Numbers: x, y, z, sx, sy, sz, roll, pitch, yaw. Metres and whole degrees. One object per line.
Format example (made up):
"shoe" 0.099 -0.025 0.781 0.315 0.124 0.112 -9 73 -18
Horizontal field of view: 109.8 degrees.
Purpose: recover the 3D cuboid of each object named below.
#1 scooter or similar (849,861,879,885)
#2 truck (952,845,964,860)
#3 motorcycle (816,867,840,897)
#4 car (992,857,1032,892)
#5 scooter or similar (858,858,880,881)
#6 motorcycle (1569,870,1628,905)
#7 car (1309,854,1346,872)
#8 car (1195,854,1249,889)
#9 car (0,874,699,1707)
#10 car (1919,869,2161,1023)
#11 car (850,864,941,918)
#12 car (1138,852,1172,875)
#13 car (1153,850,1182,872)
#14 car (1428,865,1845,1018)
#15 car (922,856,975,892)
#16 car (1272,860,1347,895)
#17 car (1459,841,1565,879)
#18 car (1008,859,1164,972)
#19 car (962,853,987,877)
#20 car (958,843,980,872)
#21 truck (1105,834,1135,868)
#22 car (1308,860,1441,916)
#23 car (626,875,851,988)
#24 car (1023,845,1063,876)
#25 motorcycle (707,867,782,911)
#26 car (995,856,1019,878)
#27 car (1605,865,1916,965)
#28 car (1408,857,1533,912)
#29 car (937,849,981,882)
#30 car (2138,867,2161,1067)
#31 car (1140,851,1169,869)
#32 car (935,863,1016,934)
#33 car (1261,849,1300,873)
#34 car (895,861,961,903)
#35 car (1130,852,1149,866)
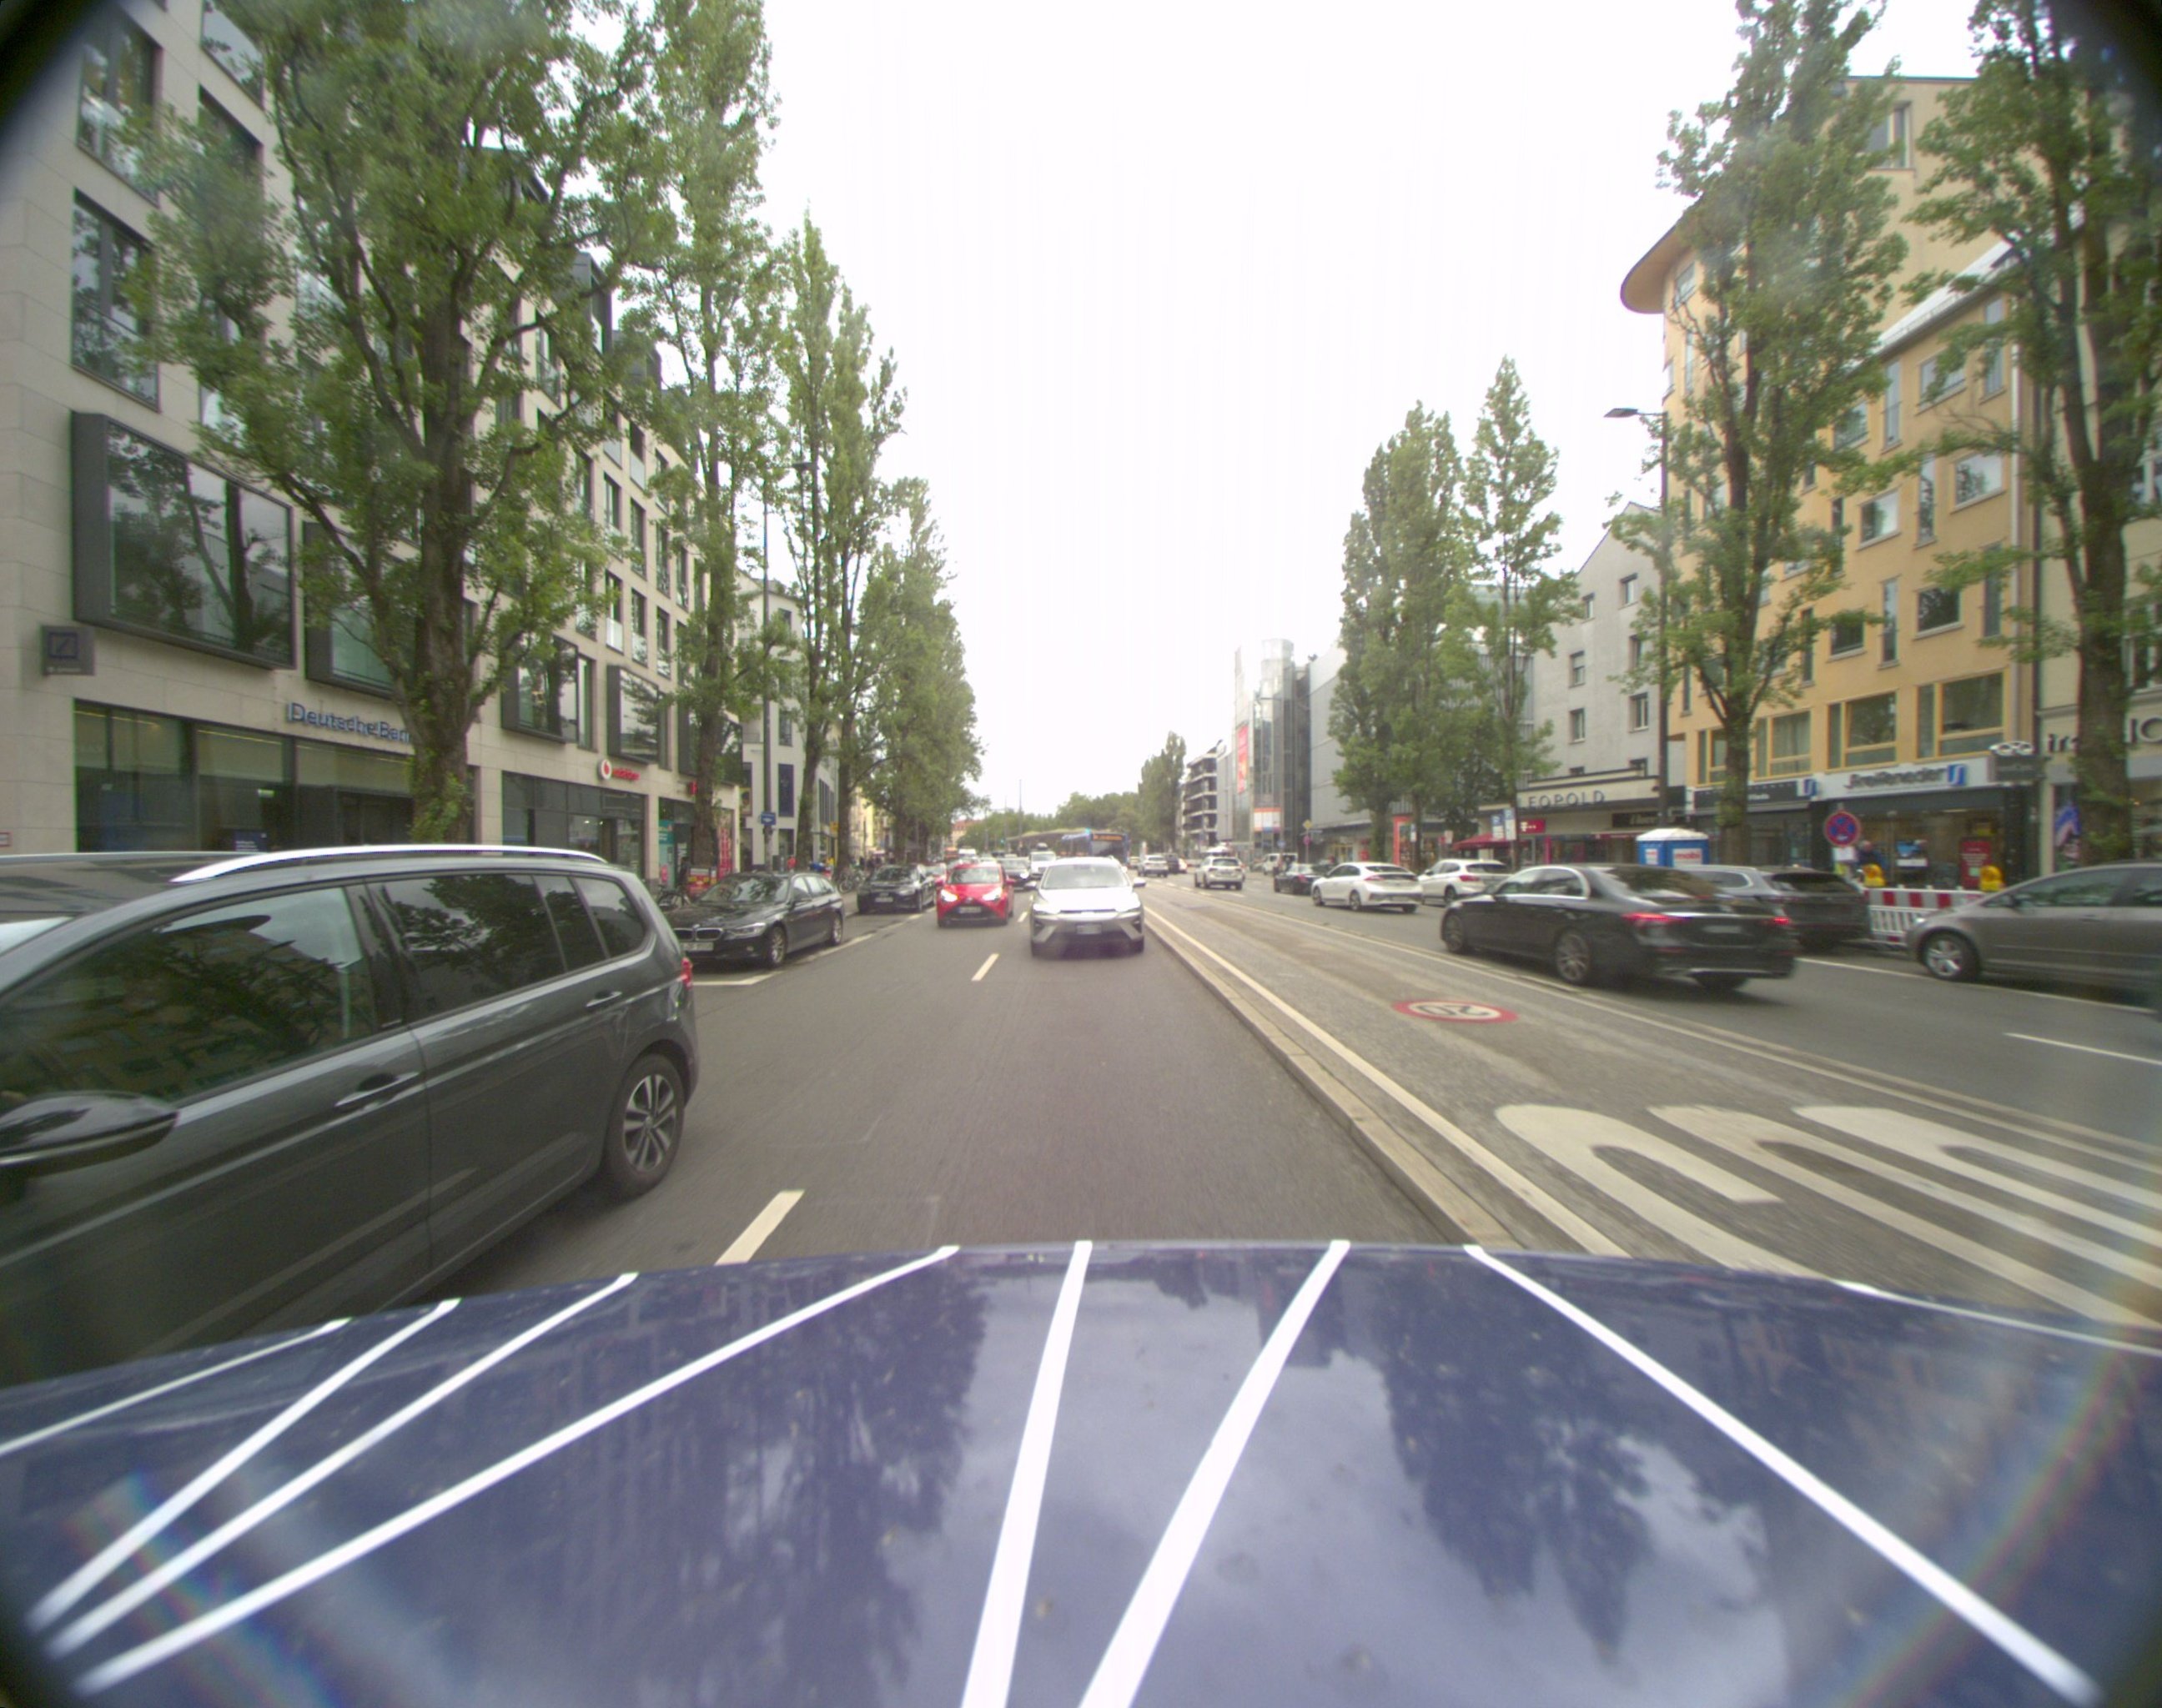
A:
"scooter or similar" -10.866 0.969 38.073 1.439 1.194 0.311 0 1 -8
"truck" -29.412 -0.384 181.257 2.543 3.468 7.743 0 0 -12
"motorcycle" -10.115 1.111 30.373 0.689 1.149 1.640 0 0 -26
"car" -3.277 0.908 35.474 1.741 1.461 4.047 -1 0 -7
"scooter or similar" -11.172 0.800 40.002 1.053 1.219 0.379 0 1 -7
"motorcycle" 17.018 1.083 24.984 2.064 1.030 0.485 -2 2 -19
"car" 20.561 0.710 63.574 1.926 1.430 4.509 0 0 5
"car" 7.124 0.852 38.786 1.944 1.632 4.463 0 0 0
"car" -2.878 0.940 1.900 1.766 1.604 4.183 -1 0 -1
"car" 11.860 0.969 7.949 1.809 1.510 4.000 1 0 2
"car" -5.607 1.066 23.504 1.852 1.420 4.424 0 0 -2
"car" 5.737 0.704 59.158 1.866 1.701 4.534 1 0 -4
"car" 7.805 0.638 68.976 1.998 1.852 5.711 2 0 0
"car" 6.621 0.909 9.951 1.998 1.423 4.772 1 0 1
"car" -5.979 0.868 34.786 1.815 1.491 4.804 0 0 -3
"car" 10.109 1.002 33.998 1.944 1.426 4.537 0 0 -1
"car" 30.283 0.416 53.581 6.054 2.590 2.179 0 1 10
"car" -0.094 0.895 13.052 1.898 1.483 3.995 -2 1 -11
"car" -8.060 0.794 57.399 1.732 1.676 4.405 -1 0 -8
"car" -11.310 0.284 76.650 2.000 2.726 5.548 -2 1 -10
"truck" 3.971 -0.279 78.873 2.297 3.303 7.154 1 0 -3
"car" 8.706 0.955 22.994 1.945 1.485 4.292 0 0 -7
"car" -5.300 1.118 12.498 1.738 1.386 4.432 0 0 -1
"car" -2.570 0.393 50.598 2.000 1.889 4.230 -2 1 -12
"motorcycle" -10.145 1.039 22.940 1.978 1.244 0.638 0 1 -35
"car" -6.484 1.137 66.333 2.000 1.740 3.997 -2 1 -7
"car" 12.207 1.000 14.138 1.944 1.485 4.295 0 0 0
"car" 12.568 0.918 24.882 1.998 1.620 4.382 0 0 3
"car" -6.949 0.606 43.624 1.930 1.690 4.648 -2 1 -3
"car" 9.323 0.922 3.925 1.853 1.555 4.211 0 1 1
"car" 8.351 0.625 86.859 2.000 2.002 5.317 1 0 -9
"car" -2.500 1.006 18.756 1.670 1.438 3.594 -2 1 -3
"car" 17.751 0.587 67.761 1.999 2.002 5.111 0 0 -2
"car" -5.787 1.011 29.331 1.936 1.441 4.802 0 0 -5
"car" 7.464 0.589 97.115 1.890 1.688 4.382 1 0 -1
